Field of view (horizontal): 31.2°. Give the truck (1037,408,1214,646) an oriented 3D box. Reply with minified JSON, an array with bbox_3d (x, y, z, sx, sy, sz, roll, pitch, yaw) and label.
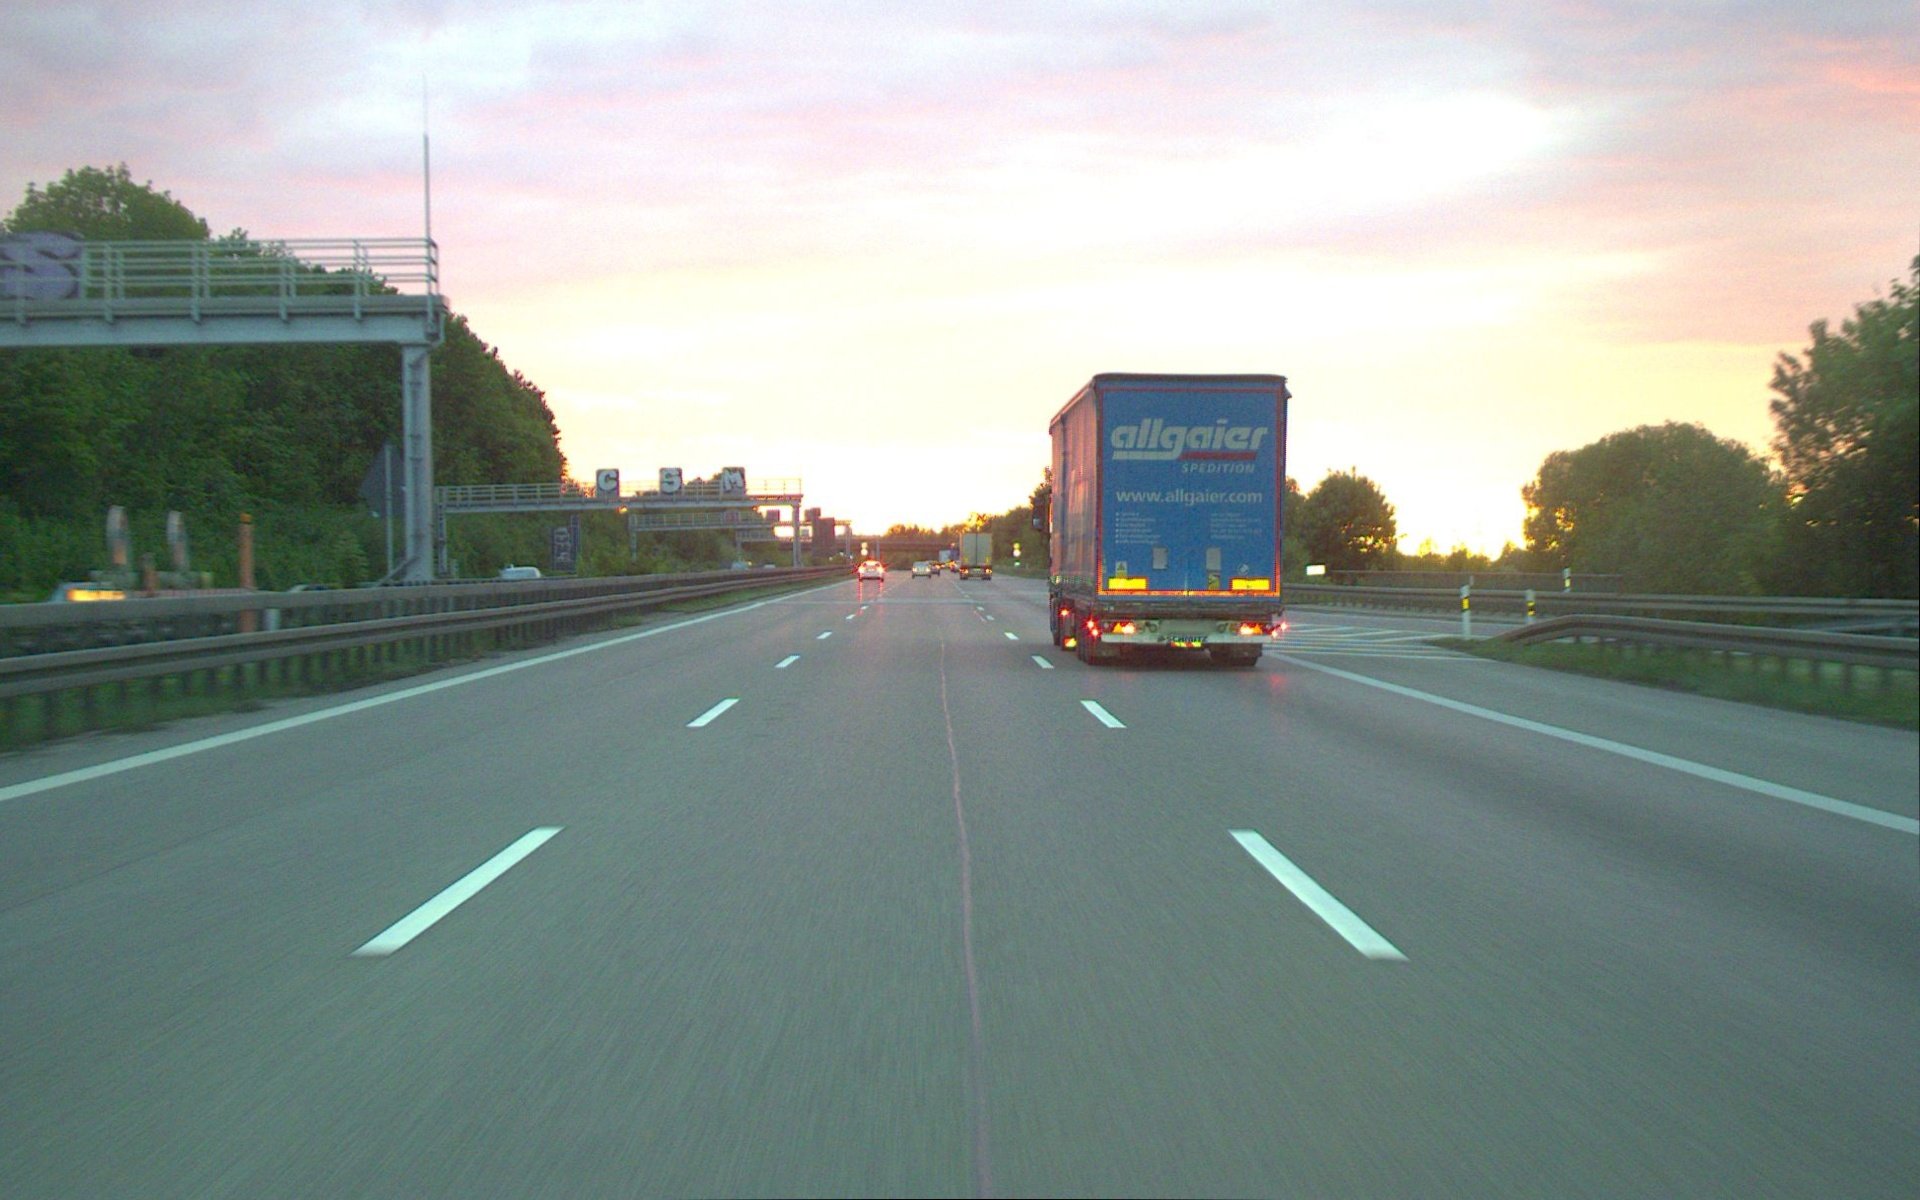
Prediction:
[{"bbox_3d":[2.841,-1.251,60.617,2.736,3.983,5.849,0,1,-1],"label":"truck"}]

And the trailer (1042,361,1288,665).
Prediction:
[{"bbox_3d":[2.935,-1.244,53.258,2.771,4.072,13.740,0,1,-1],"label":"trailer"}]

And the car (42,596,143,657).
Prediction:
[{"bbox_3d":[-21.331,0.628,84.658,1.641,1.416,3.536,0,1,-1],"label":"car"}]

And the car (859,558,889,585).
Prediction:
[{"bbox_3d":[-6.145,-2.053,246.571,2.013,1.743,3.903,-4,1,-1],"label":"car"}]
